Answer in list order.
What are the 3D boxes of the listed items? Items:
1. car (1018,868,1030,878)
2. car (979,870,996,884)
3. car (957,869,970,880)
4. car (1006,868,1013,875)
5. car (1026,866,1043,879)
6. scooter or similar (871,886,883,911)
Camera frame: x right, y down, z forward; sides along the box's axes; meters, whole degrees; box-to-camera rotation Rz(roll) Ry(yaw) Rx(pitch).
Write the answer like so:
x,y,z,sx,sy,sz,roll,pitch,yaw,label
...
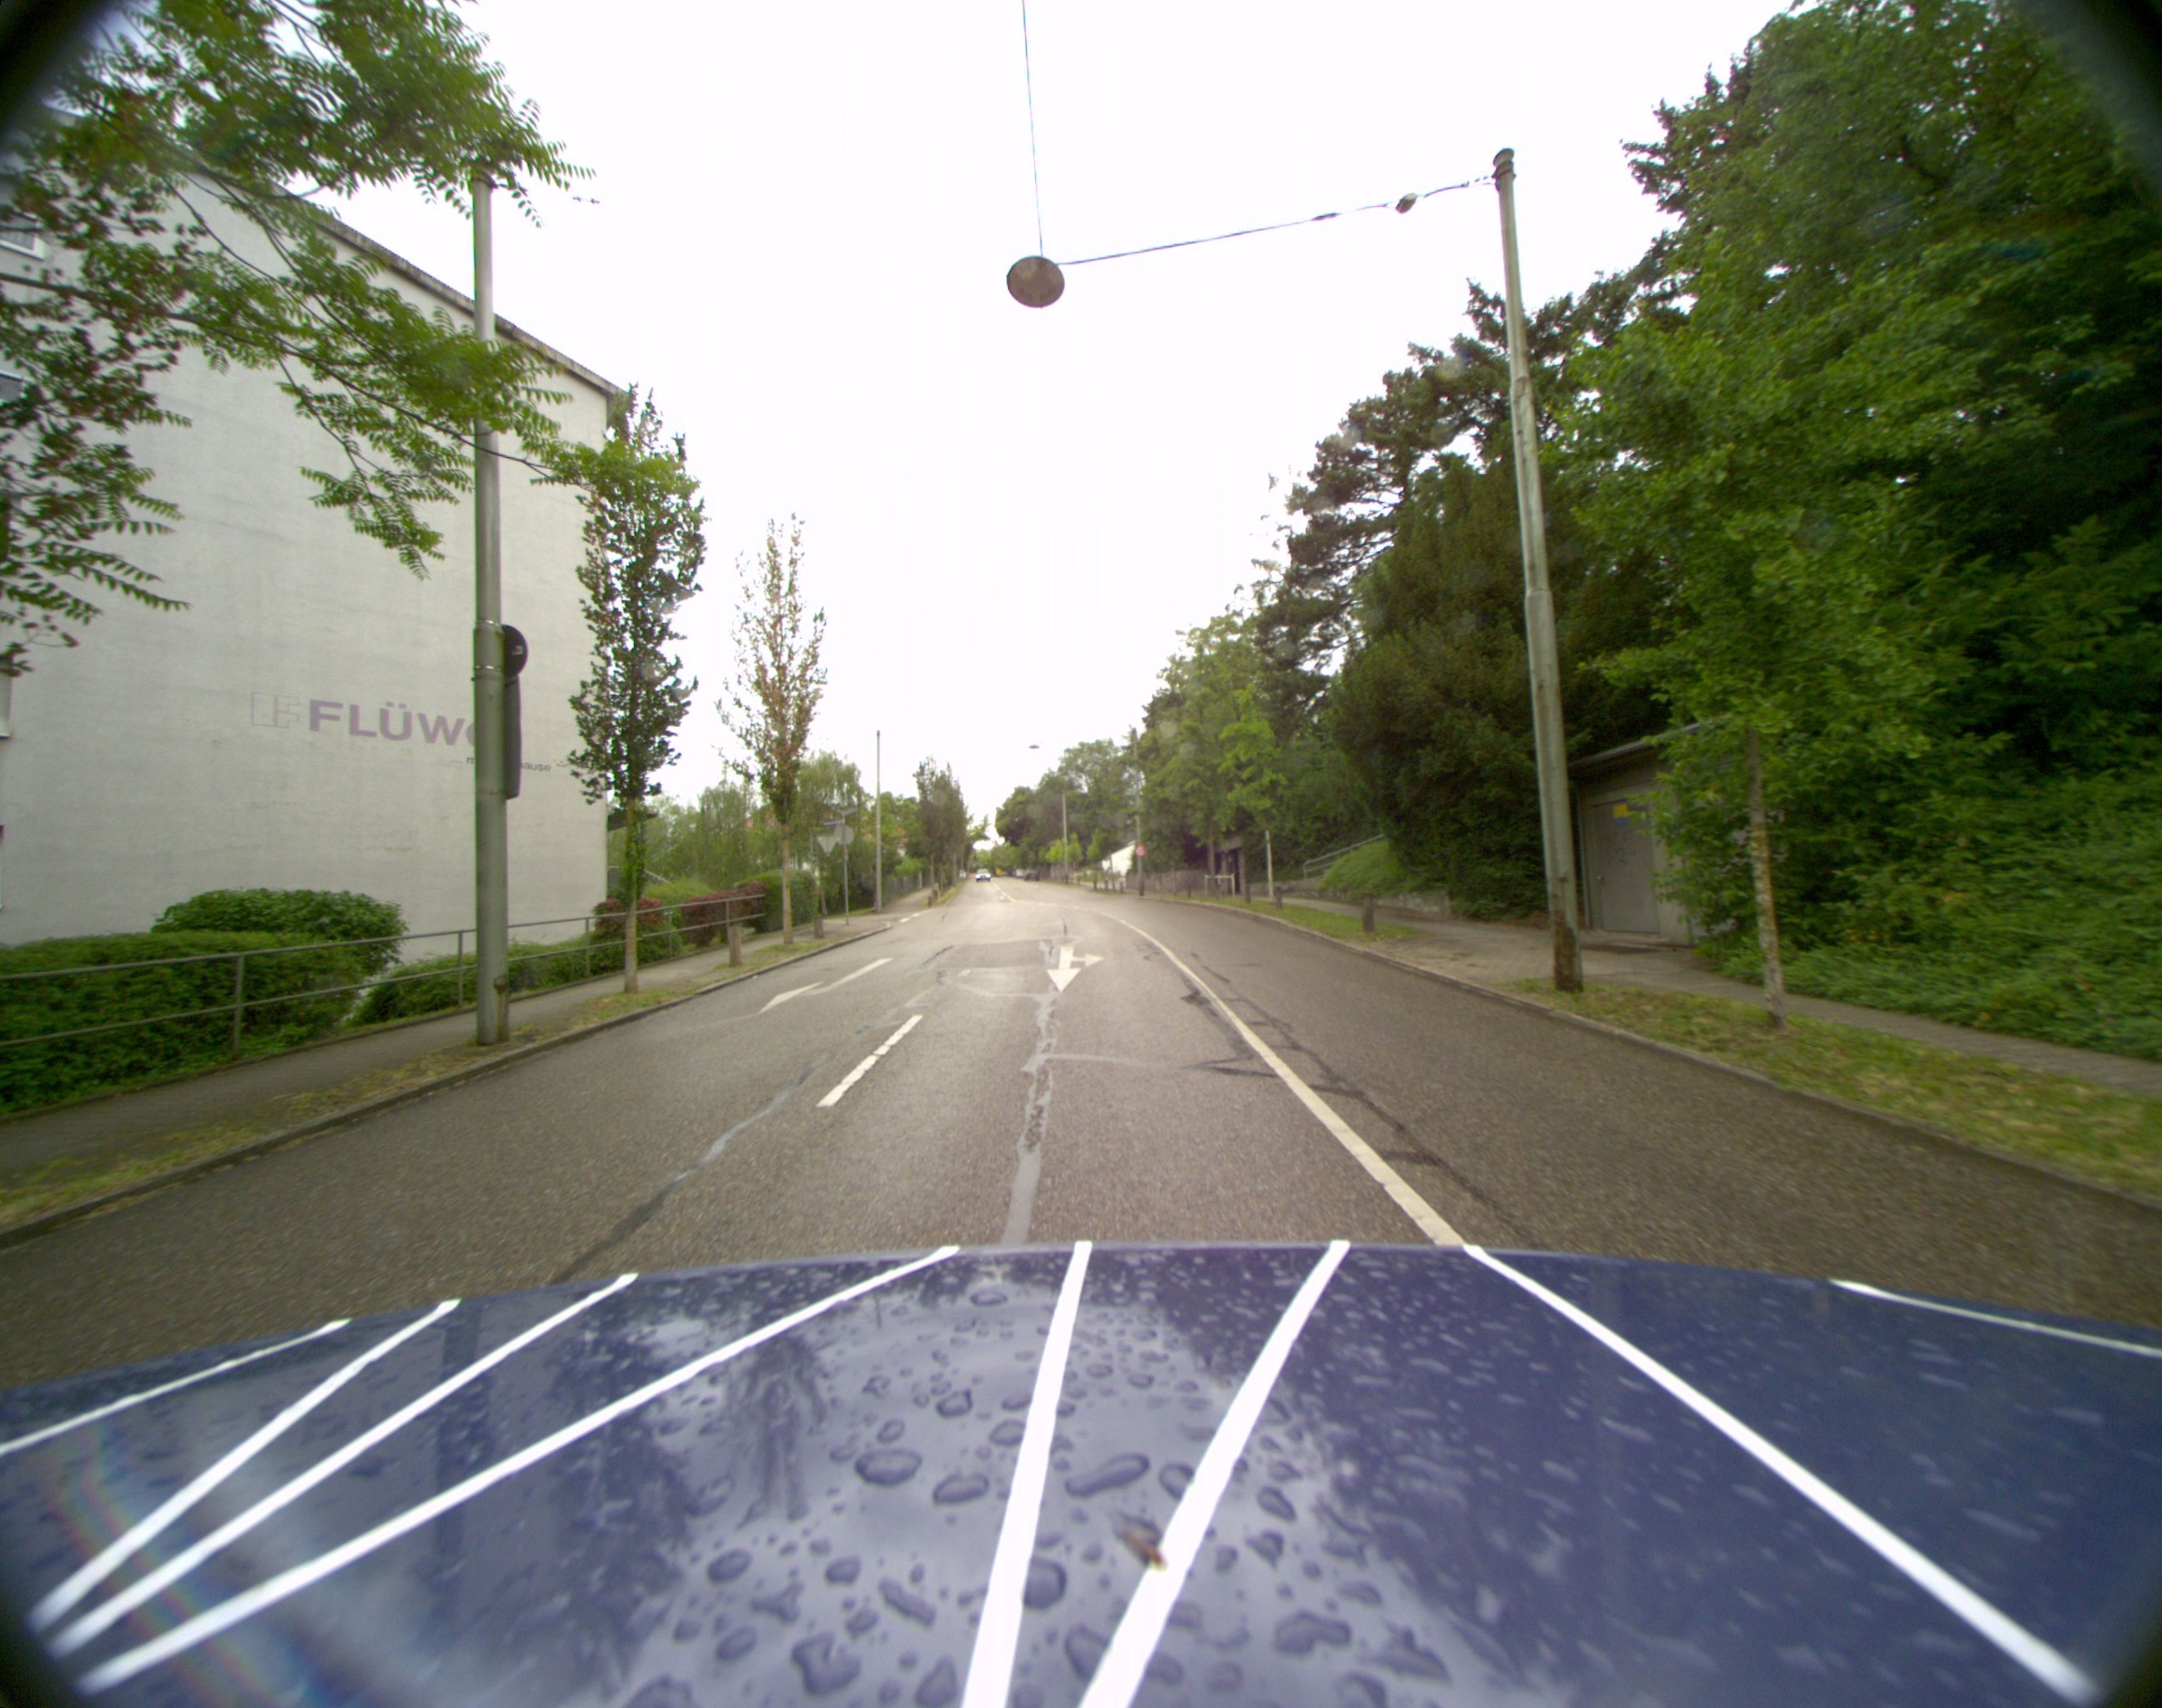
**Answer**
x,y,z,sx,sy,sz,roll,pitch,yaw,label
-9.034,3.031,120.115,1.771,1.477,3.799,1,-1,-7,car
-12.491,3.079,101.391,1.999,1.673,3.999,-5,-1,-5,car
-17.952,3.107,116.329,1.830,1.620,3.997,-2,0,-9,car
-17.939,4.381,190.676,1.751,1.540,3.915,1,-1,-8,car
-5.962,2.364,97.331,1.917,1.575,4.584,1,-1,-7,car
-10.756,2.344,40.067,0.344,1.247,1.266,-5,1,-9,scooter or similar
